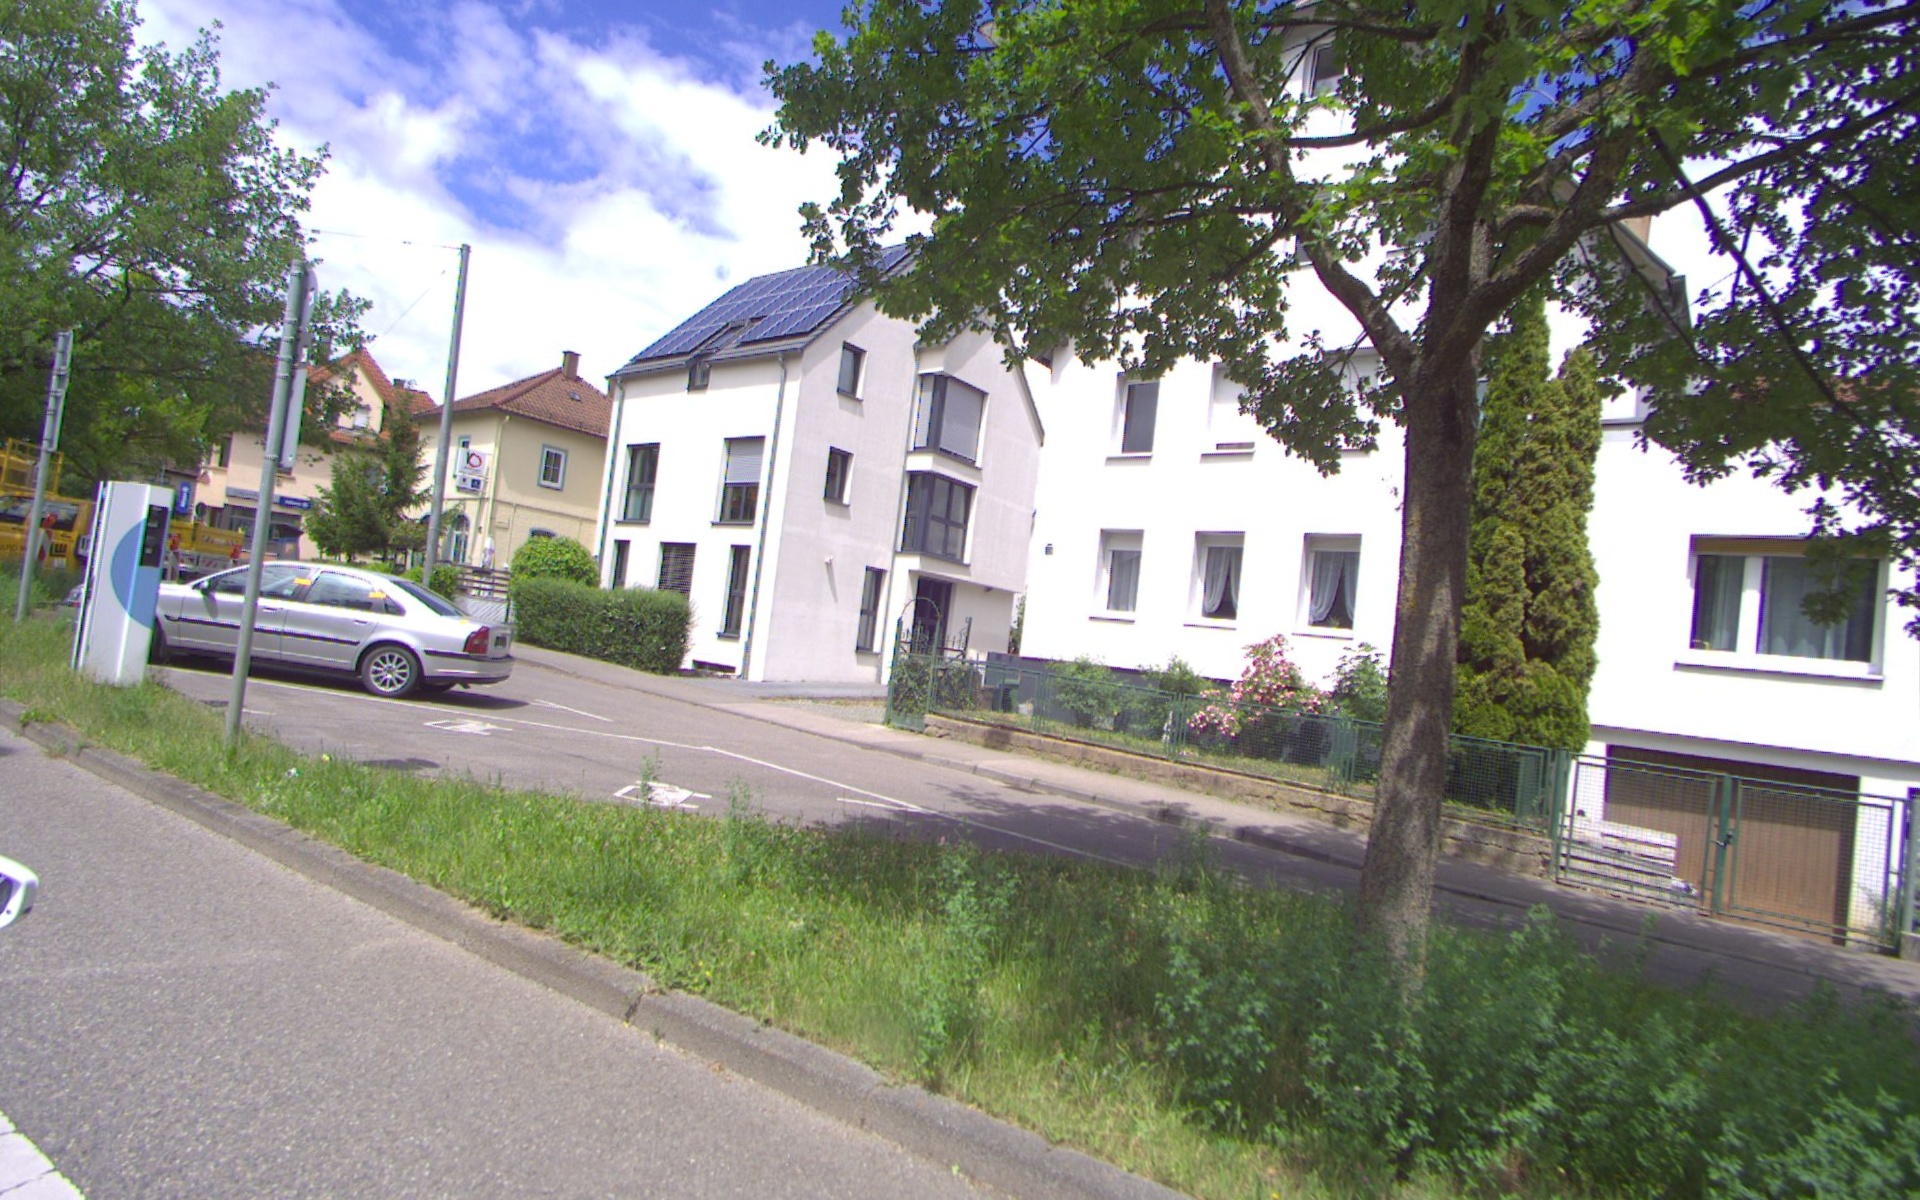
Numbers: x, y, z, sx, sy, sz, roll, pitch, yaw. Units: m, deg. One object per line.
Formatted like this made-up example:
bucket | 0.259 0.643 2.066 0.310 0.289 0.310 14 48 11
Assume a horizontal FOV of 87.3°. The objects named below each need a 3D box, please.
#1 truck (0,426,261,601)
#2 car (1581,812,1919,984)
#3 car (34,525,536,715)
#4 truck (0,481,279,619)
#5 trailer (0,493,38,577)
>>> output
truck | -20.853 -2.103 23.399 6.606 3.038 2.767 9 -5 -15
car | 9.030 3.193 10.796 3.817 1.135 1.464 4 -7 39
car | -7.932 0.300 12.339 4.616 1.467 1.766 9 -3 -12
truck | -18.062 -1.081 21.195 5.585 2.033 2.000 9 -5 -10
trailer | -26.976 -1.978 26.810 5.429 2.053 2.392 5 -4 37
